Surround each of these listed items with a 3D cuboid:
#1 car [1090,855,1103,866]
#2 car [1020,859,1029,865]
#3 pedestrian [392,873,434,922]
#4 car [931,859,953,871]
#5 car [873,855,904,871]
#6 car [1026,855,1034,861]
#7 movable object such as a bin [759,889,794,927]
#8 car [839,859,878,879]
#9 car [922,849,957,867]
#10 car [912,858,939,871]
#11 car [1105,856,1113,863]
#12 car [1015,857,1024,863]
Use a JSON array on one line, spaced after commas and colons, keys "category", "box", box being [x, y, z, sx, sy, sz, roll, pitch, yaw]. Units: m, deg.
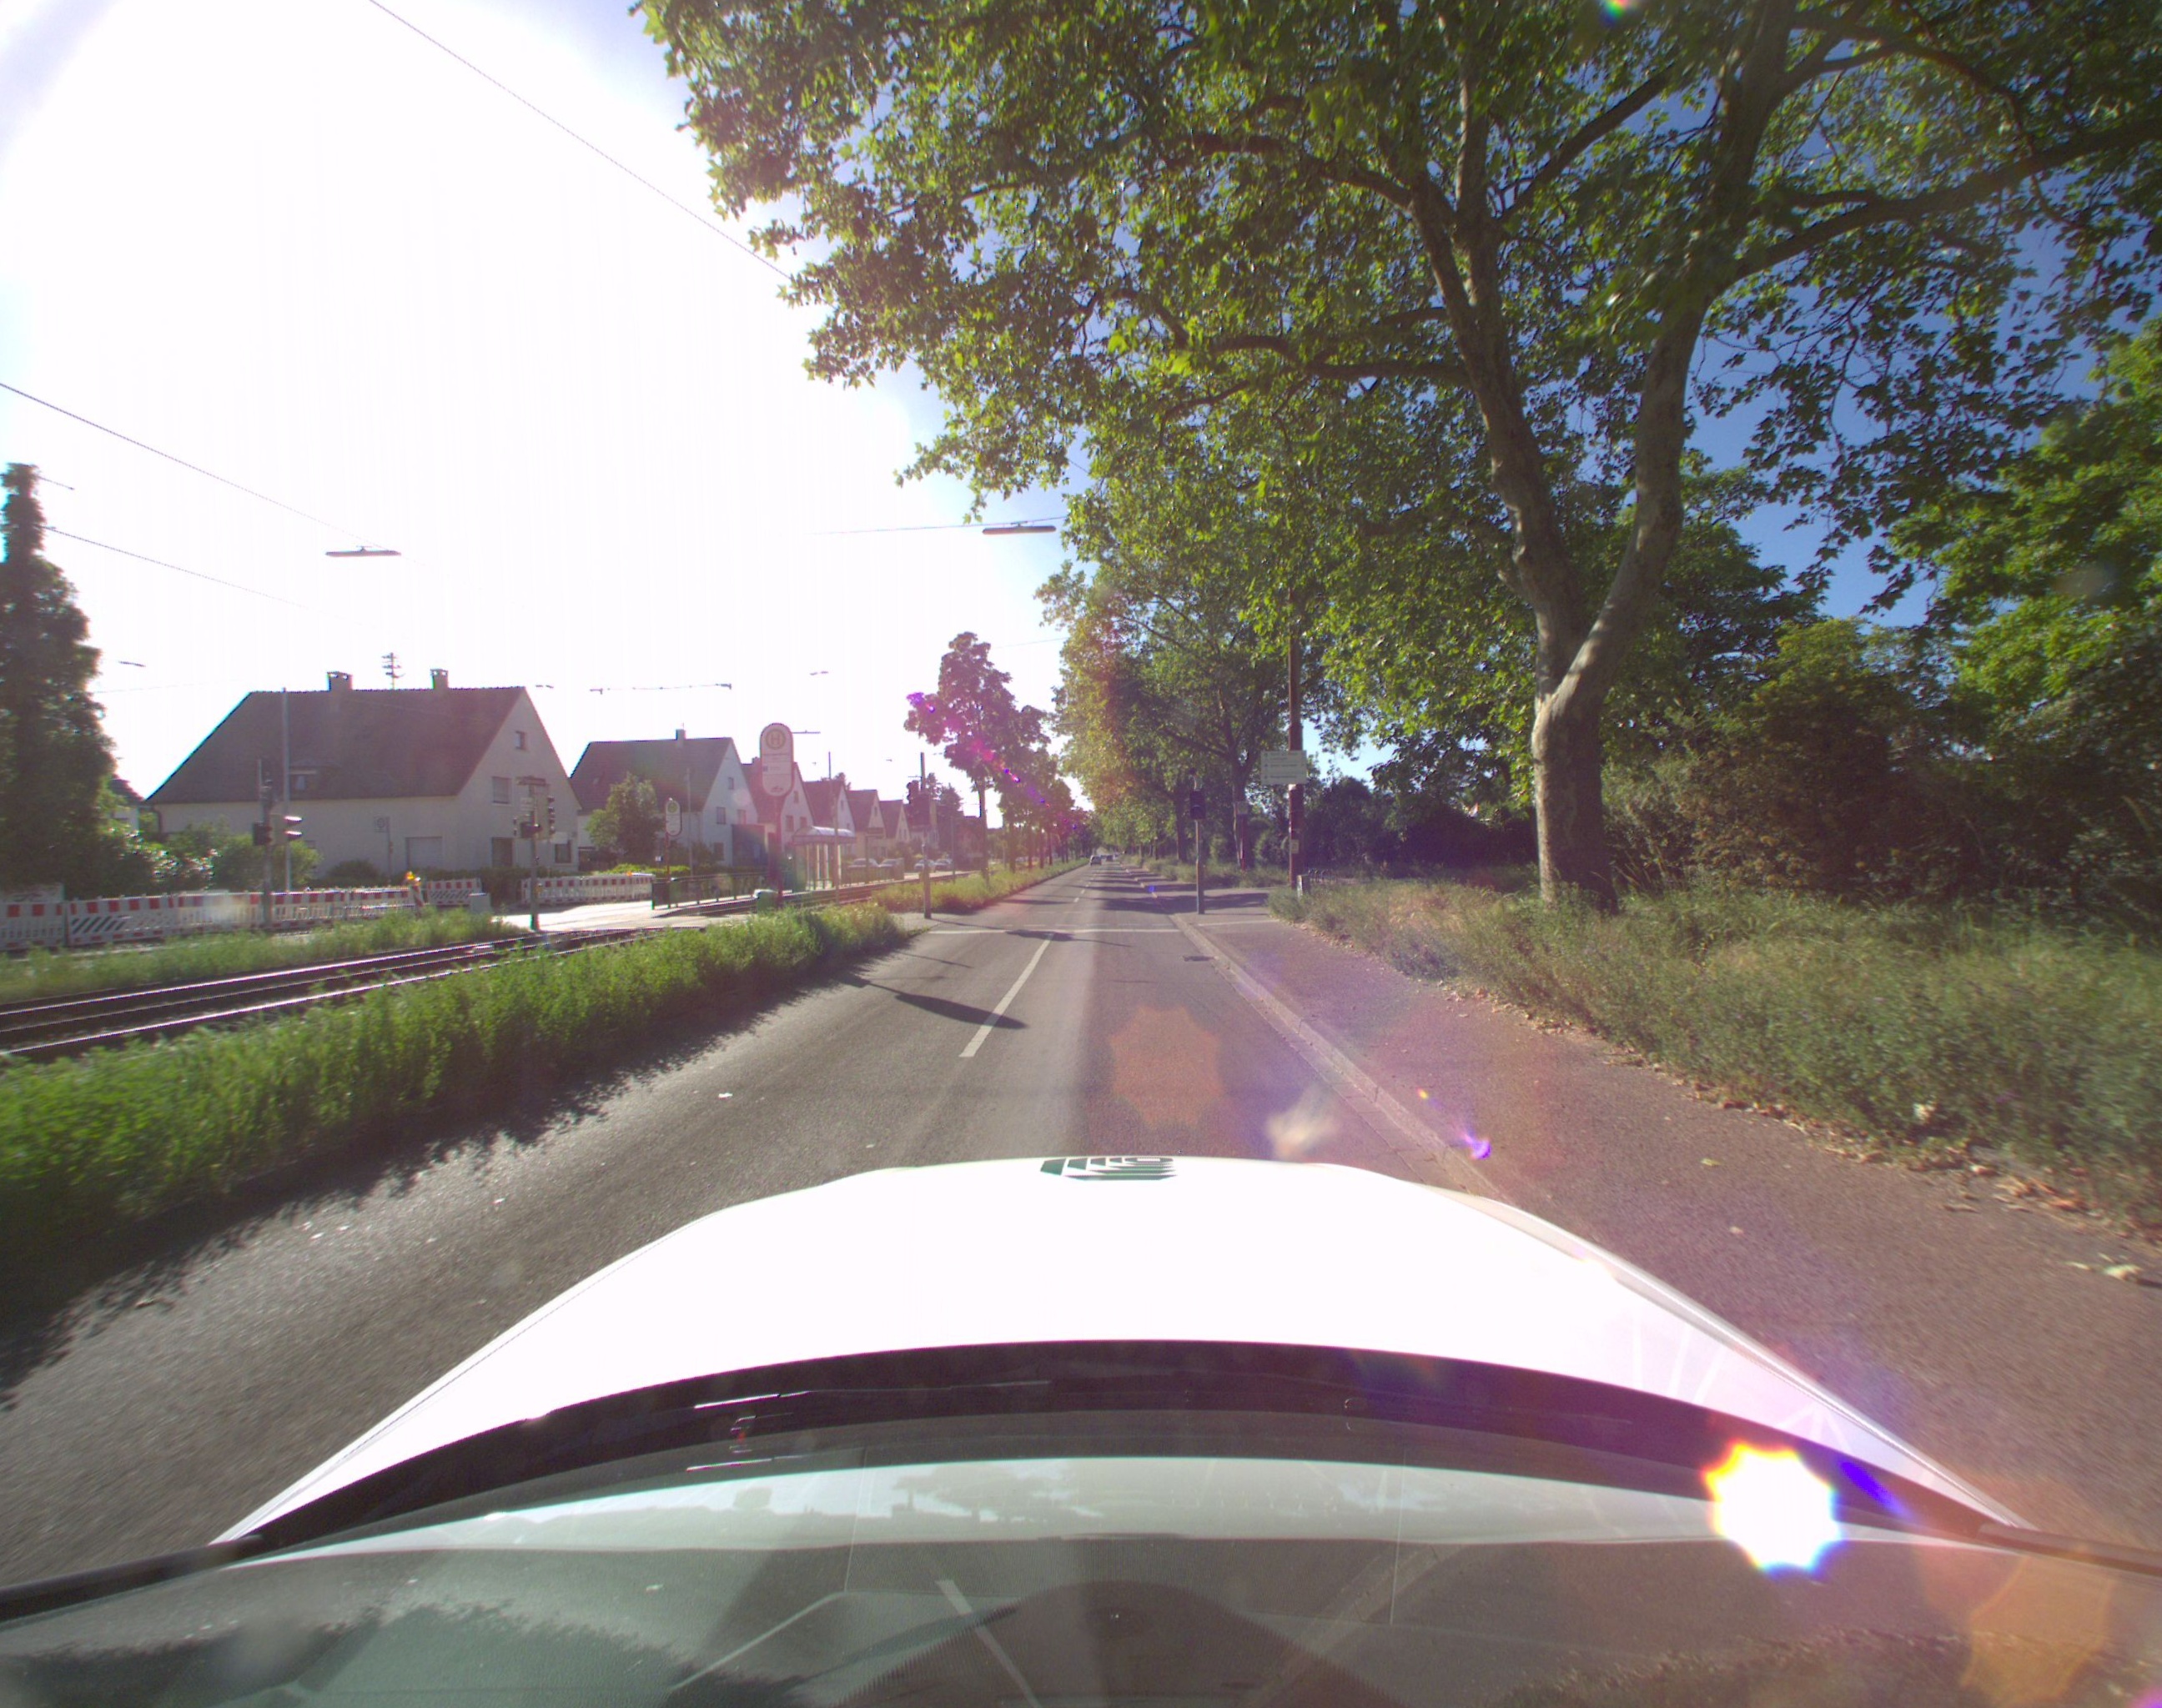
[{"category": "car", "box": [2.322, 0.990, 120.014, 1.853, 1.601, 4.229, 0, 0, 2]}, {"category": "car", "box": [-13.860, 1.865, 200.422, 1.723, 1.466, 4.604, 0, 0, 2]}, {"category": "pedestrian", "box": [-22.060, 1.428, 26.894, 0.794, 1.534, 0.808, -2, 2, -20]}, {"category": "car", "box": [-17.482, 1.409, 102.553, 1.986, 1.450, 4.129, 2, 0, 2]}, {"category": "car", "box": [-18.822, 0.843, 79.817, 1.919, 1.495, 4.258, 0, 0, 2]}, {"category": "car", "box": [-13.175, 1.098, 211.444, 1.741, 1.651, 4.557, 0, 0, 2]}, {"category": "movable object such as a bin", "box": [-4.846, 0.852, 12.983, 0.384, 0.582, 0.380, 0, -1, 10]}, {"category": "car", "box": [-19.146, 1.260, 70.196, 1.986, 1.713, 4.392, 0, 0, 2]}, {"category": "car", "box": [-22.296, 0.656, 128.756, 5.010, 2.625, 2.103, -1, 0, 1]}, {"category": "car", "box": [-17.880, 1.211, 93.677, 1.985, 1.426, 4.414, 0, 0, 4]}, {"category": "car", "box": [6.603, 1.252, 191.318, 1.986, 1.603, 4.475, 0, 0, 1]}, {"category": "car", "box": [-14.417, 1.432, 191.243, 1.853, 1.542, 4.229, 0, 0, 2]}]
